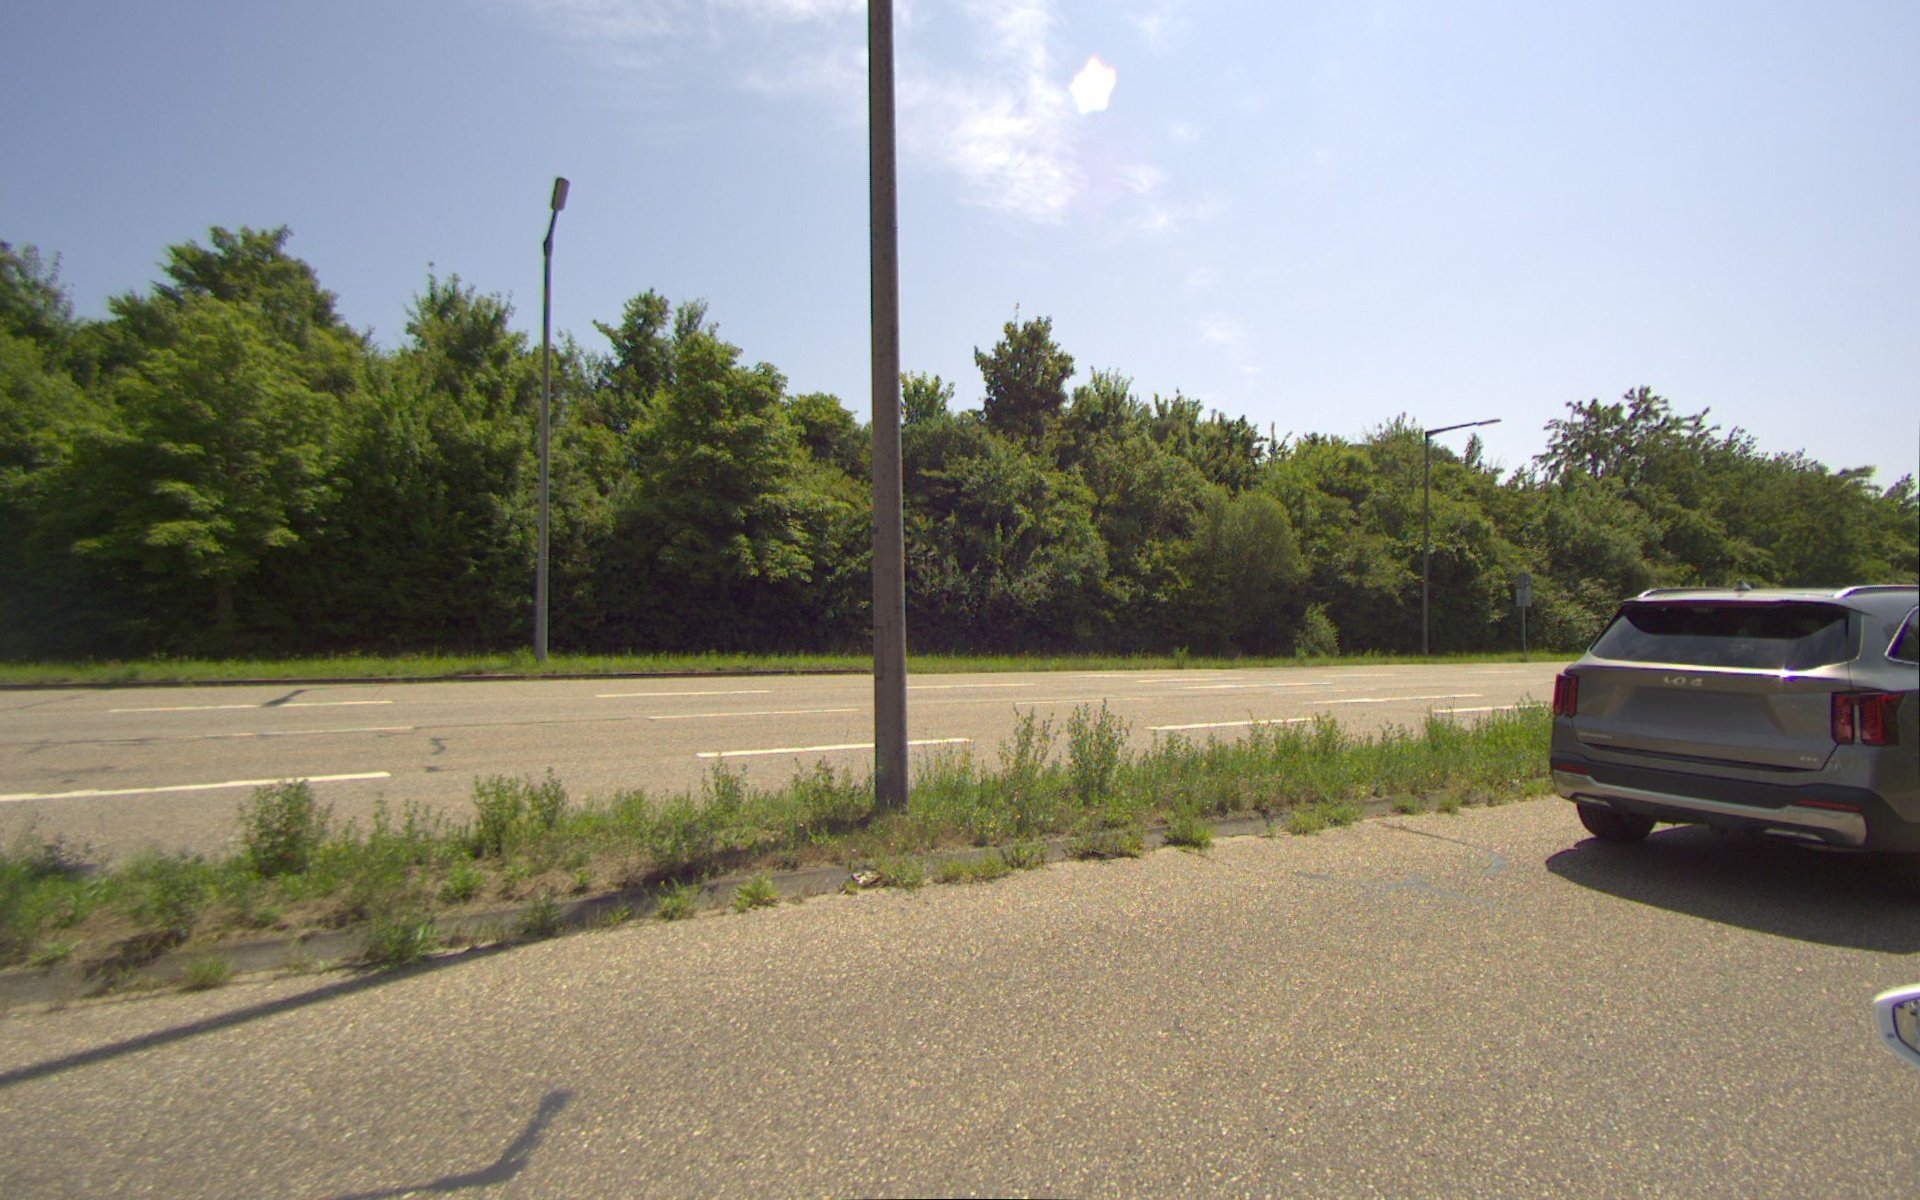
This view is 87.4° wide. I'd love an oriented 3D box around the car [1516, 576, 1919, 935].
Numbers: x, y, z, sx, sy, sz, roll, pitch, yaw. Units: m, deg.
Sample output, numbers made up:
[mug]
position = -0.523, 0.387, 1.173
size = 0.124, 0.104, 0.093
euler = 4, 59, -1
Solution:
[car]
position = 5.913, 0.790, 6.661
size = 4.589, 1.684, 1.796
euler = 1, -1, -30
